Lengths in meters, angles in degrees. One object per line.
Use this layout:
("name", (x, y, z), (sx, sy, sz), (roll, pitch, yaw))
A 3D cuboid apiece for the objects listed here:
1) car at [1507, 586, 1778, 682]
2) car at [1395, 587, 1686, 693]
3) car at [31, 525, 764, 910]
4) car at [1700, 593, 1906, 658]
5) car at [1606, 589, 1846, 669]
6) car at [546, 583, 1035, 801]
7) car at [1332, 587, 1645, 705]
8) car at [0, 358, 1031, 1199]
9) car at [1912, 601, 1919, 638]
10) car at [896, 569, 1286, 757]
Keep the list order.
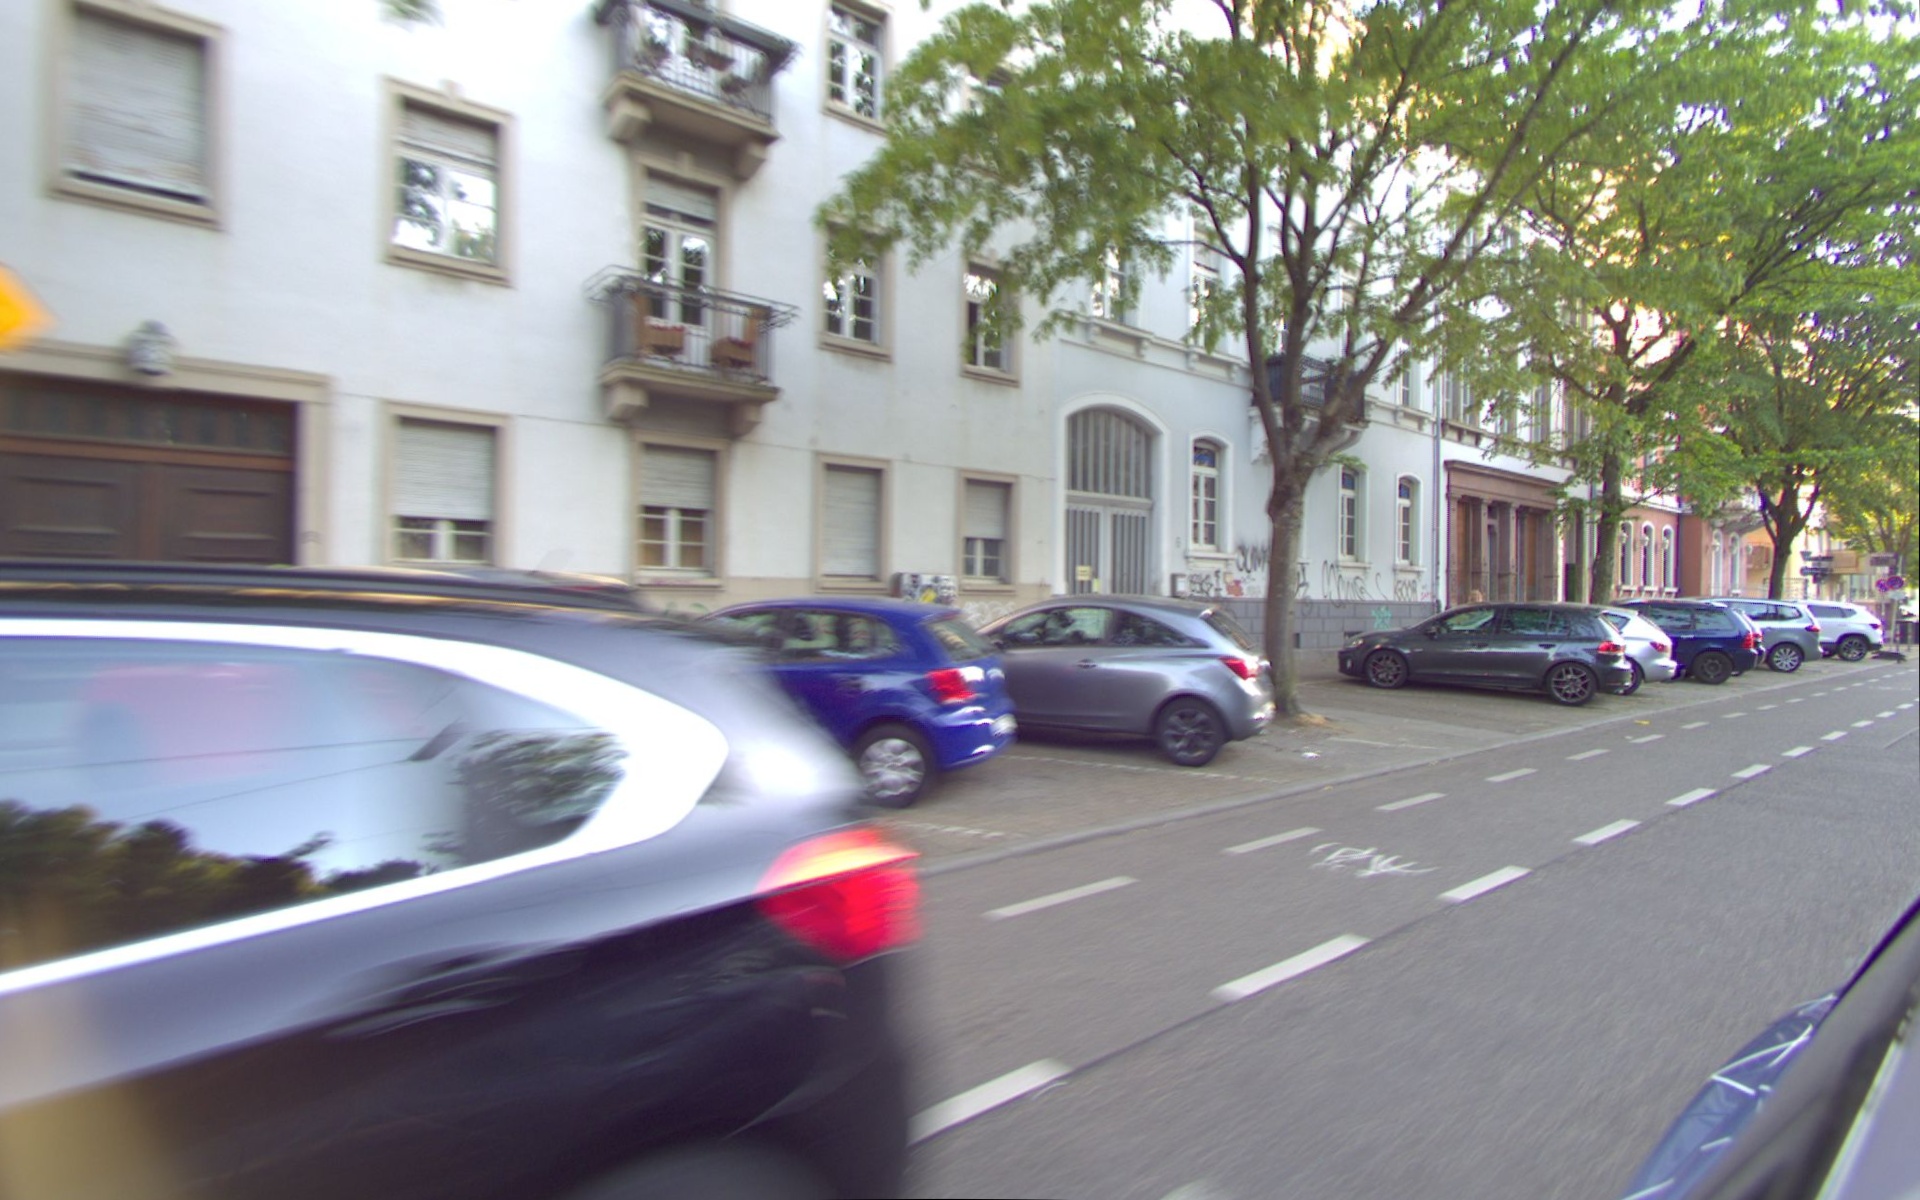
("car", (13.465, 0.619, 20.269), (4.162, 1.629, 1.690), (2, 1, 22))
("car", (9.994, 0.610, 17.606), (4.183, 1.521, 1.722), (3, 1, 34))
("car", (-3.357, 0.478, 6.009), (4.075, 1.661, 1.729), (1, 0, 24))
("car", (24.165, 0.690, 29.195), (4.162, 1.629, 1.731), (2, 1, 22))
("car", (18.036, 0.637, 24.078), (4.162, 1.629, 1.731), (2, 1, 22))
("car", (-1.287, 0.610, 8.026), (3.524, 1.428, 1.513), (1, 0, 16))
("car", (8.283, 0.633, 16.025), (4.183, 1.521, 1.722), (3, 1, 34))
("car", (-2.034, 0.634, 1.203), (4.094, 1.662, 1.838), (1, -3, -40))
("car", (44.751, 0.915, 45.763), (3.749, 1.629, 1.744), (1, 1, -35))
("car", (1.268, 0.512, 9.818), (3.533, 1.565, 1.374), (1, 0, 22))
